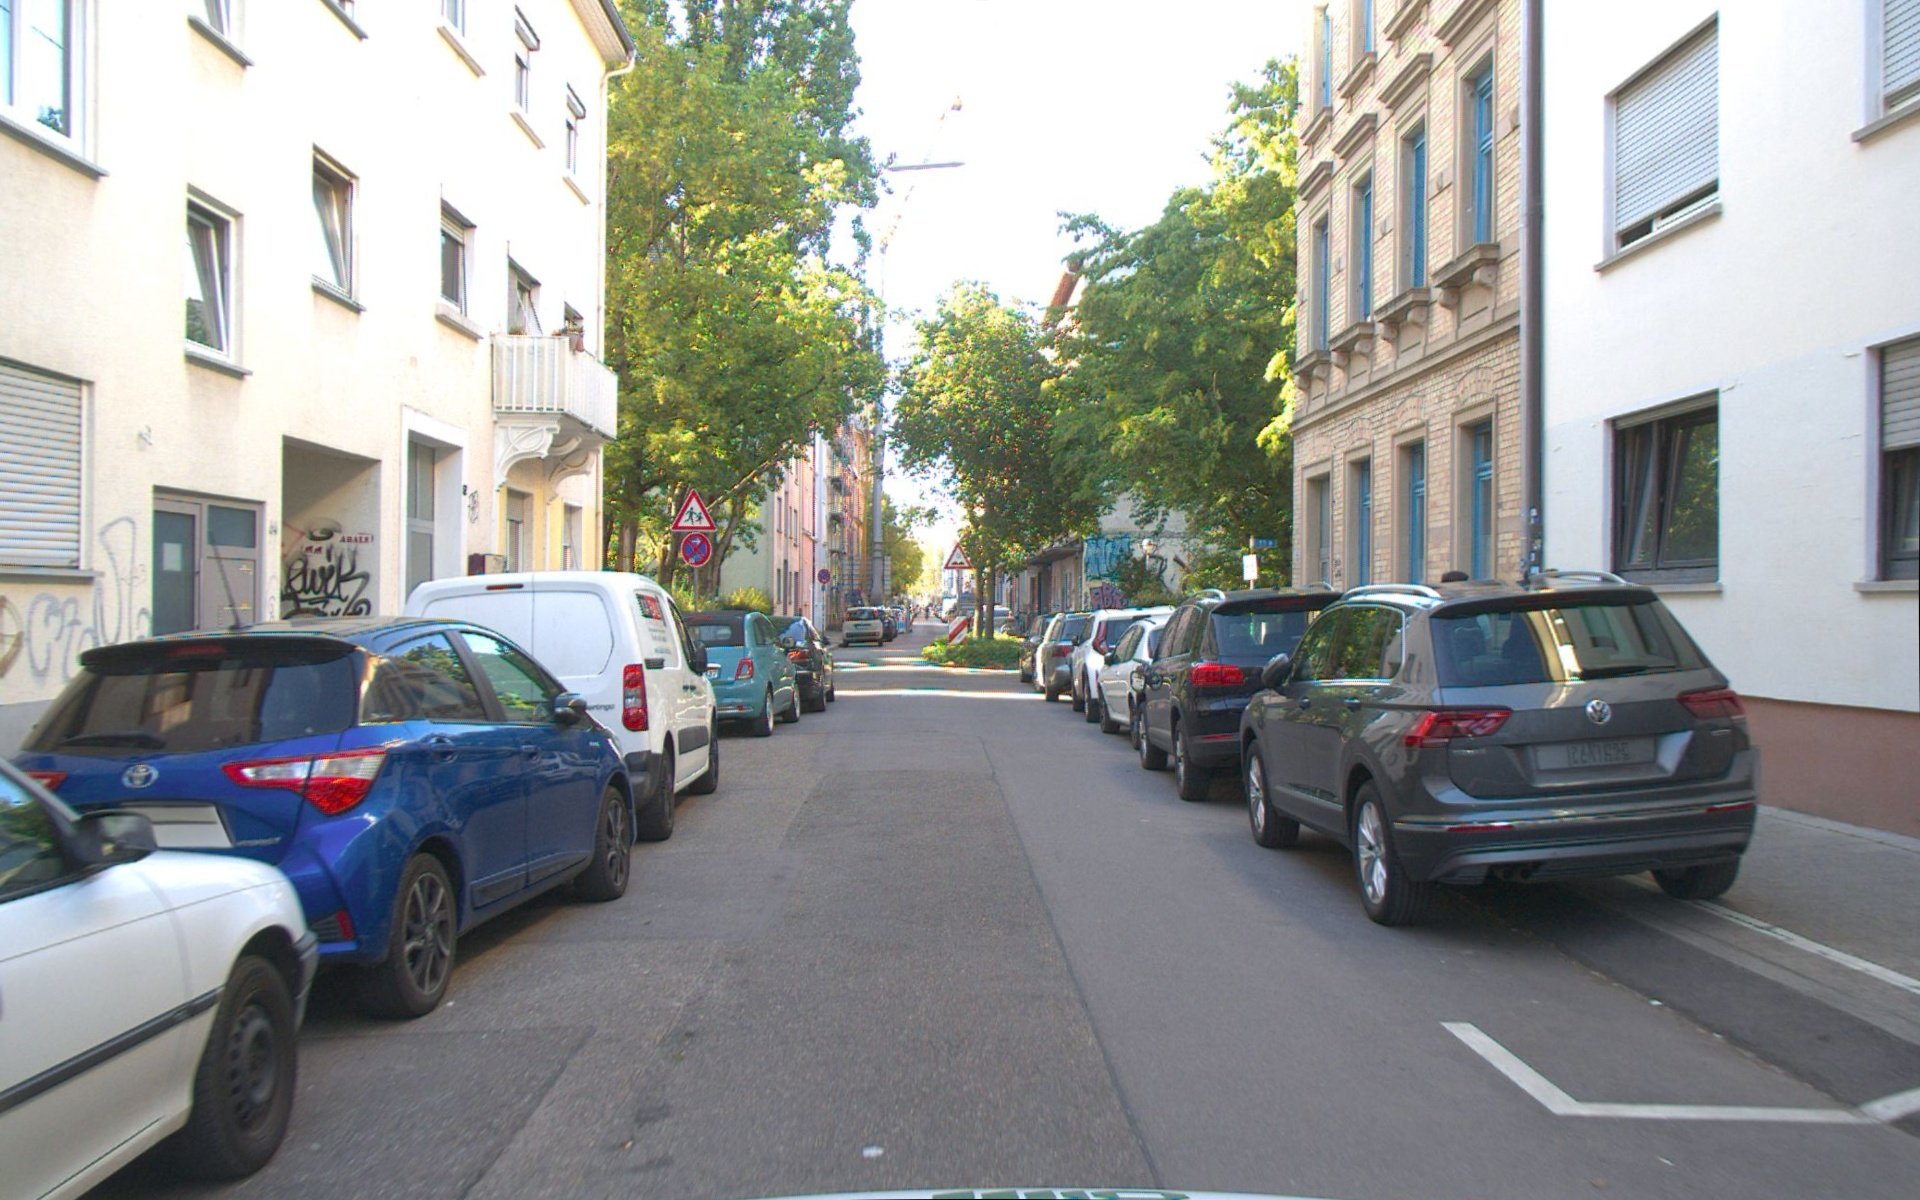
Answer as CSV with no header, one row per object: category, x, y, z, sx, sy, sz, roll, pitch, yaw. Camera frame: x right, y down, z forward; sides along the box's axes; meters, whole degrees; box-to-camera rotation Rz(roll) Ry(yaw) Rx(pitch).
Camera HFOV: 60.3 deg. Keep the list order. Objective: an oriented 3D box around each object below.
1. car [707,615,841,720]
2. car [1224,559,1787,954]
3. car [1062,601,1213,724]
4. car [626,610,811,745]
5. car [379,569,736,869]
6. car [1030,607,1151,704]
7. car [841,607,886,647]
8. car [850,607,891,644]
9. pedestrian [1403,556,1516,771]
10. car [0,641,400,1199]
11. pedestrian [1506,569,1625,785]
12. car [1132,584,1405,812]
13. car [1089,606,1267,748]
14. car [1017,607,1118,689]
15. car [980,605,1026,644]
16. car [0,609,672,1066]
car,-2.747,0.959,25.160,1.636,1.385,4.048,-2,0,-1
car,2.788,0.711,9.533,1.642,1.655,4.249,-4,0,-2
car,2.482,0.836,23.955,1.642,1.588,3.795,-2,0,-2
car,-2.976,0.912,21.073,1.635,1.495,3.821,-2,0,2
car,-2.776,0.739,12.314,1.729,1.816,4.037,-2,0,-2
car,2.197,0.913,28.853,1.642,1.513,4.093,-2,0,-2
car,-3.818,1.050,66.180,1.642,1.513,4.093,-2,0,-2
car,-3.837,1.096,71.680,1.642,1.513,4.093,-2,0,-2
pedestrian,4.033,0.502,13.392,0.671,1.689,0.717,0,0,-1
car,-2.618,0.861,3.278,1.639,1.412,4.180,-2,0,-1
pedestrian,4.873,0.607,13.348,0.671,1.689,0.717,0,0,-1
car,2.587,0.786,14.784,1.641,1.711,4.094,-2,-1,0
car,2.529,0.852,19.948,1.535,1.509,3.618,-2,0,-2
car,2.135,0.927,33.853,1.642,1.513,4.093,-2,0,-2
car,1.744,0.985,67.664,1.642,1.513,3.636,-2,0,-2
car,-2.652,0.835,7.671,1.638,1.512,3.993,-2,0,4
